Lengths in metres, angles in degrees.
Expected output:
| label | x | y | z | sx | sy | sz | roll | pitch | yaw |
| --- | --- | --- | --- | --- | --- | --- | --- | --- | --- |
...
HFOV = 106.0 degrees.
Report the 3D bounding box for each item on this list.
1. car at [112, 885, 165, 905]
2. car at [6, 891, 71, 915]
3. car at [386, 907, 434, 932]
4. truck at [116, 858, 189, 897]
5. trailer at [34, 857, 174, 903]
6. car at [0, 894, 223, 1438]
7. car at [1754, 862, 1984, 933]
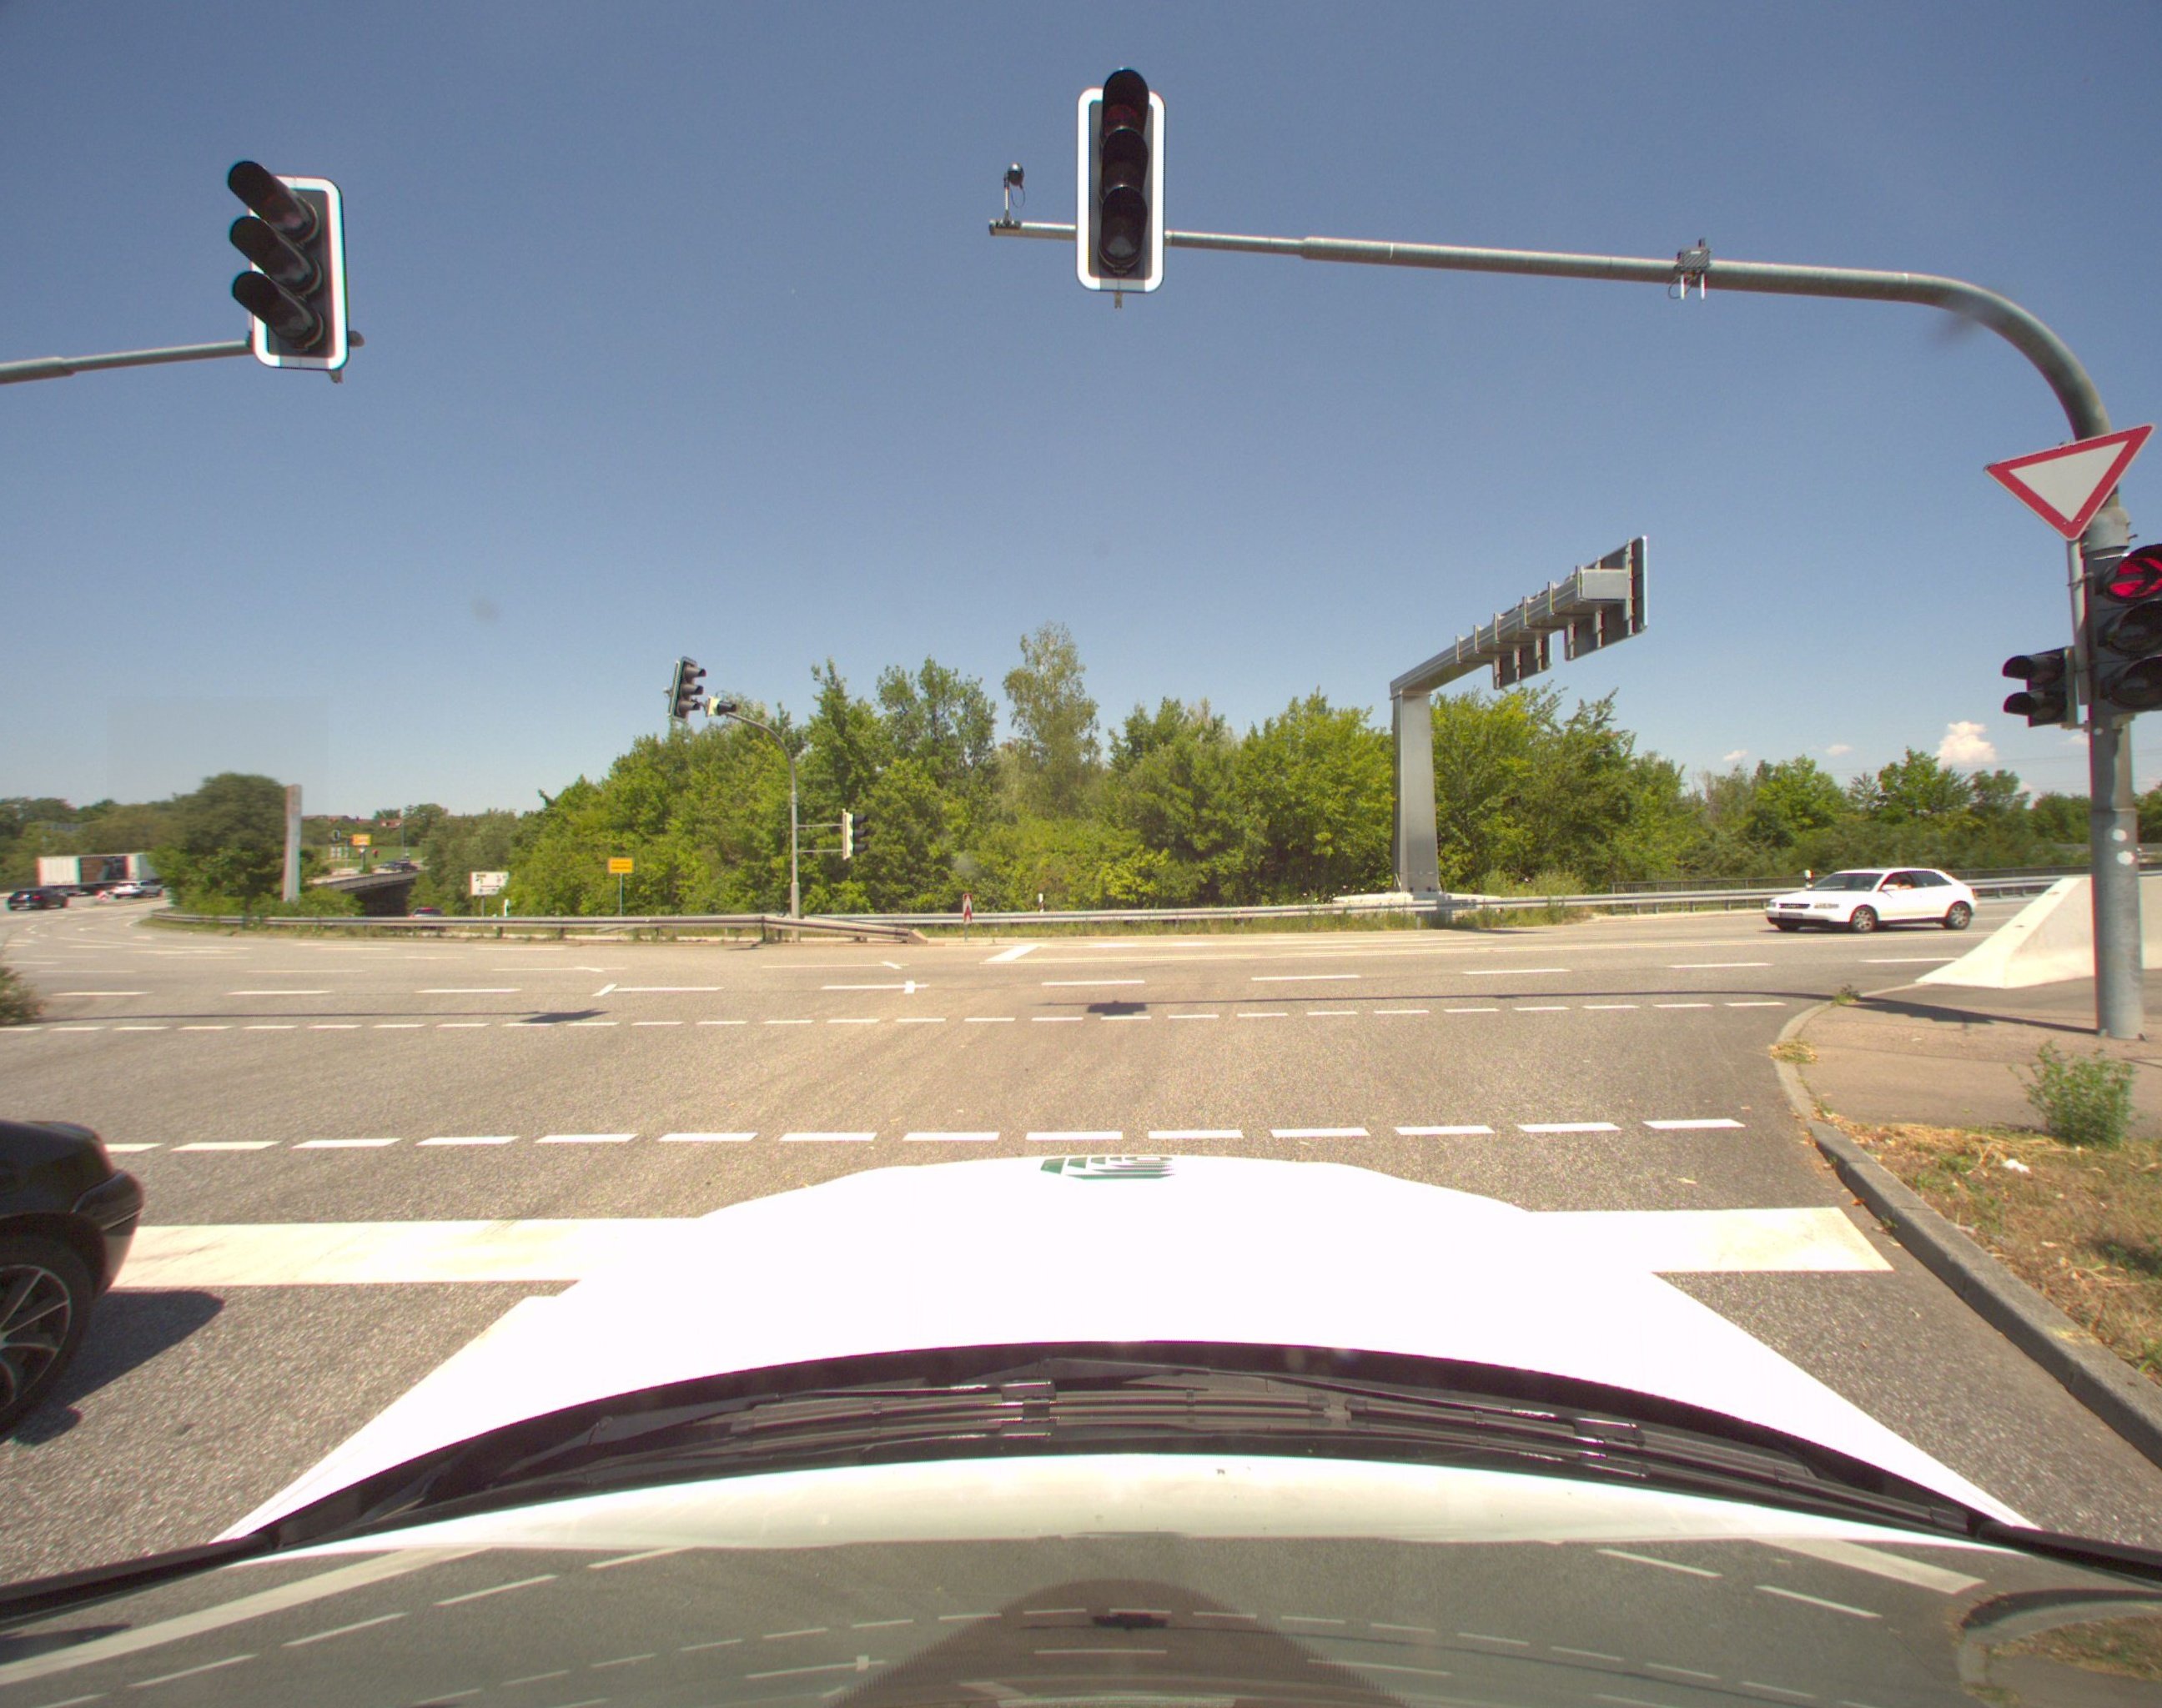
| label | x | y | z | sx | sy | sz | roll | pitch | yaw |
| --- | --- | --- | --- | --- | --- | --- | --- | --- | --- |
| car | -90.746 | 3.962 | 78.444 | 1.939 | 1.665 | 3.965 | 0 | 0 | -27 |
| car | -83.940 | 3.900 | 65.637 | 1.888 | 1.622 | 3.962 | 0 | 0 | -30 |
| car | -40.474 | 3.930 | 49.085 | 1.822 | 1.434 | 4.358 | 4 | -5 | -44 |
| truck | -104.812 | 2.556 | 92.048 | 3.248 | 4.248 | 6.184 | 0 | 0 | -26 |
| trailer | -101.561 | 2.553 | 85.193 | 3.248 | 4.248 | 15.277 | 0 | 0 | -26 |
| car | -3.618 | 0.835 | 1.035 | 1.615 | 1.407 | 3.297 | -1 | -1 | -2 |
| car | 17.778 | 0.984 | 18.445 | 3.977 | 1.396 | 1.641 | -2 | -4 | -10 |
